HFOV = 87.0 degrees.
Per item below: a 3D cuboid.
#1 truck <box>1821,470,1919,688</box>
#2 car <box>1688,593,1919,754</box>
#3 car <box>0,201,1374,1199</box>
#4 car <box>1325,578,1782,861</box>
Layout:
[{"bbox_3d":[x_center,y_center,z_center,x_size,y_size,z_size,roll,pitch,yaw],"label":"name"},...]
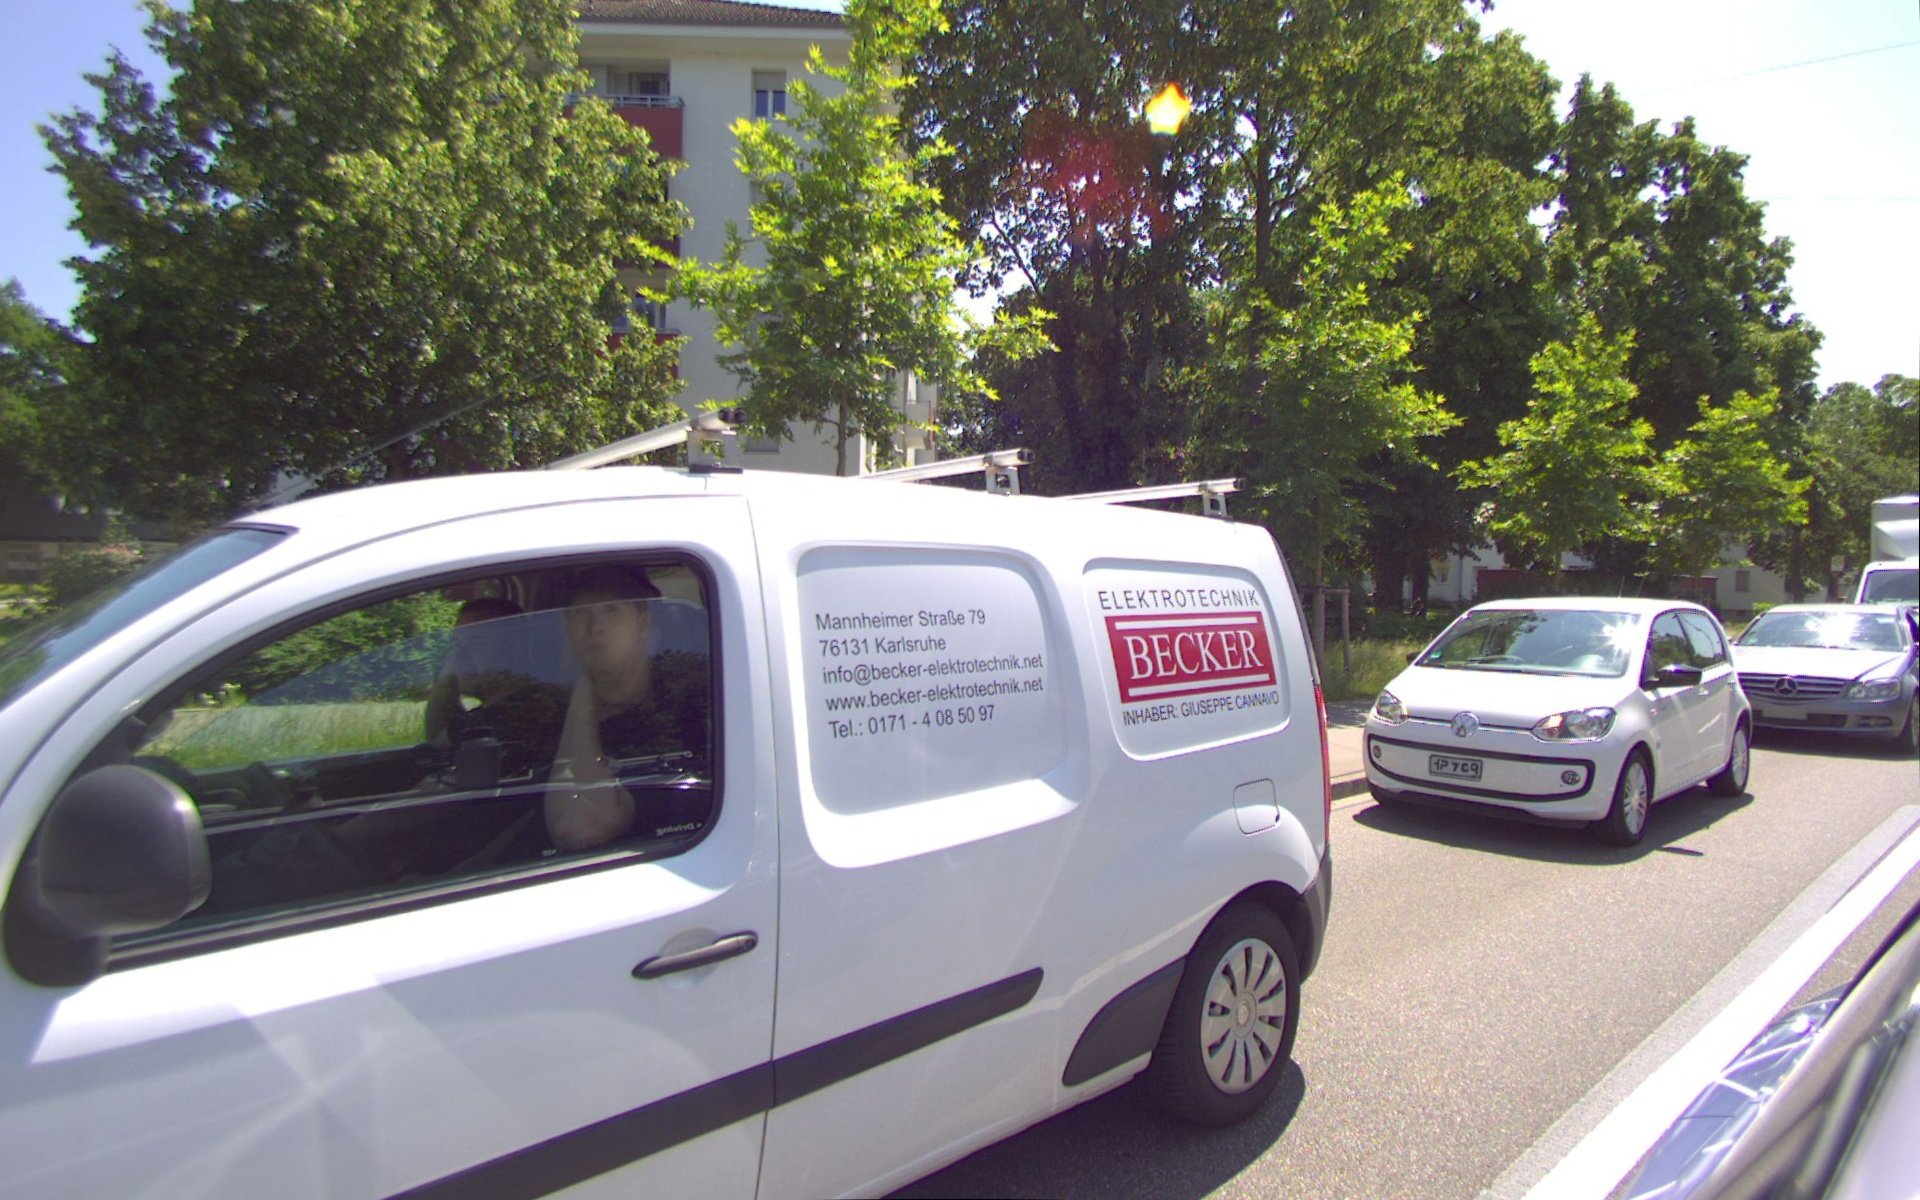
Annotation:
[{"bbox_3d":[18.006,-0.336,18.166,7.778,3.387,2.434,0,1,-39],"label":"truck"},{"bbox_3d":[9.685,0.655,11.126,4.016,1.426,1.839,0,1,-41],"label":"car"},{"bbox_3d":[-1.001,0.453,2.524,4.370,1.849,1.997,0,1,-41],"label":"car"},{"bbox_3d":[4.392,0.622,7.277,3.705,1.497,1.729,0,1,-41],"label":"car"}]
